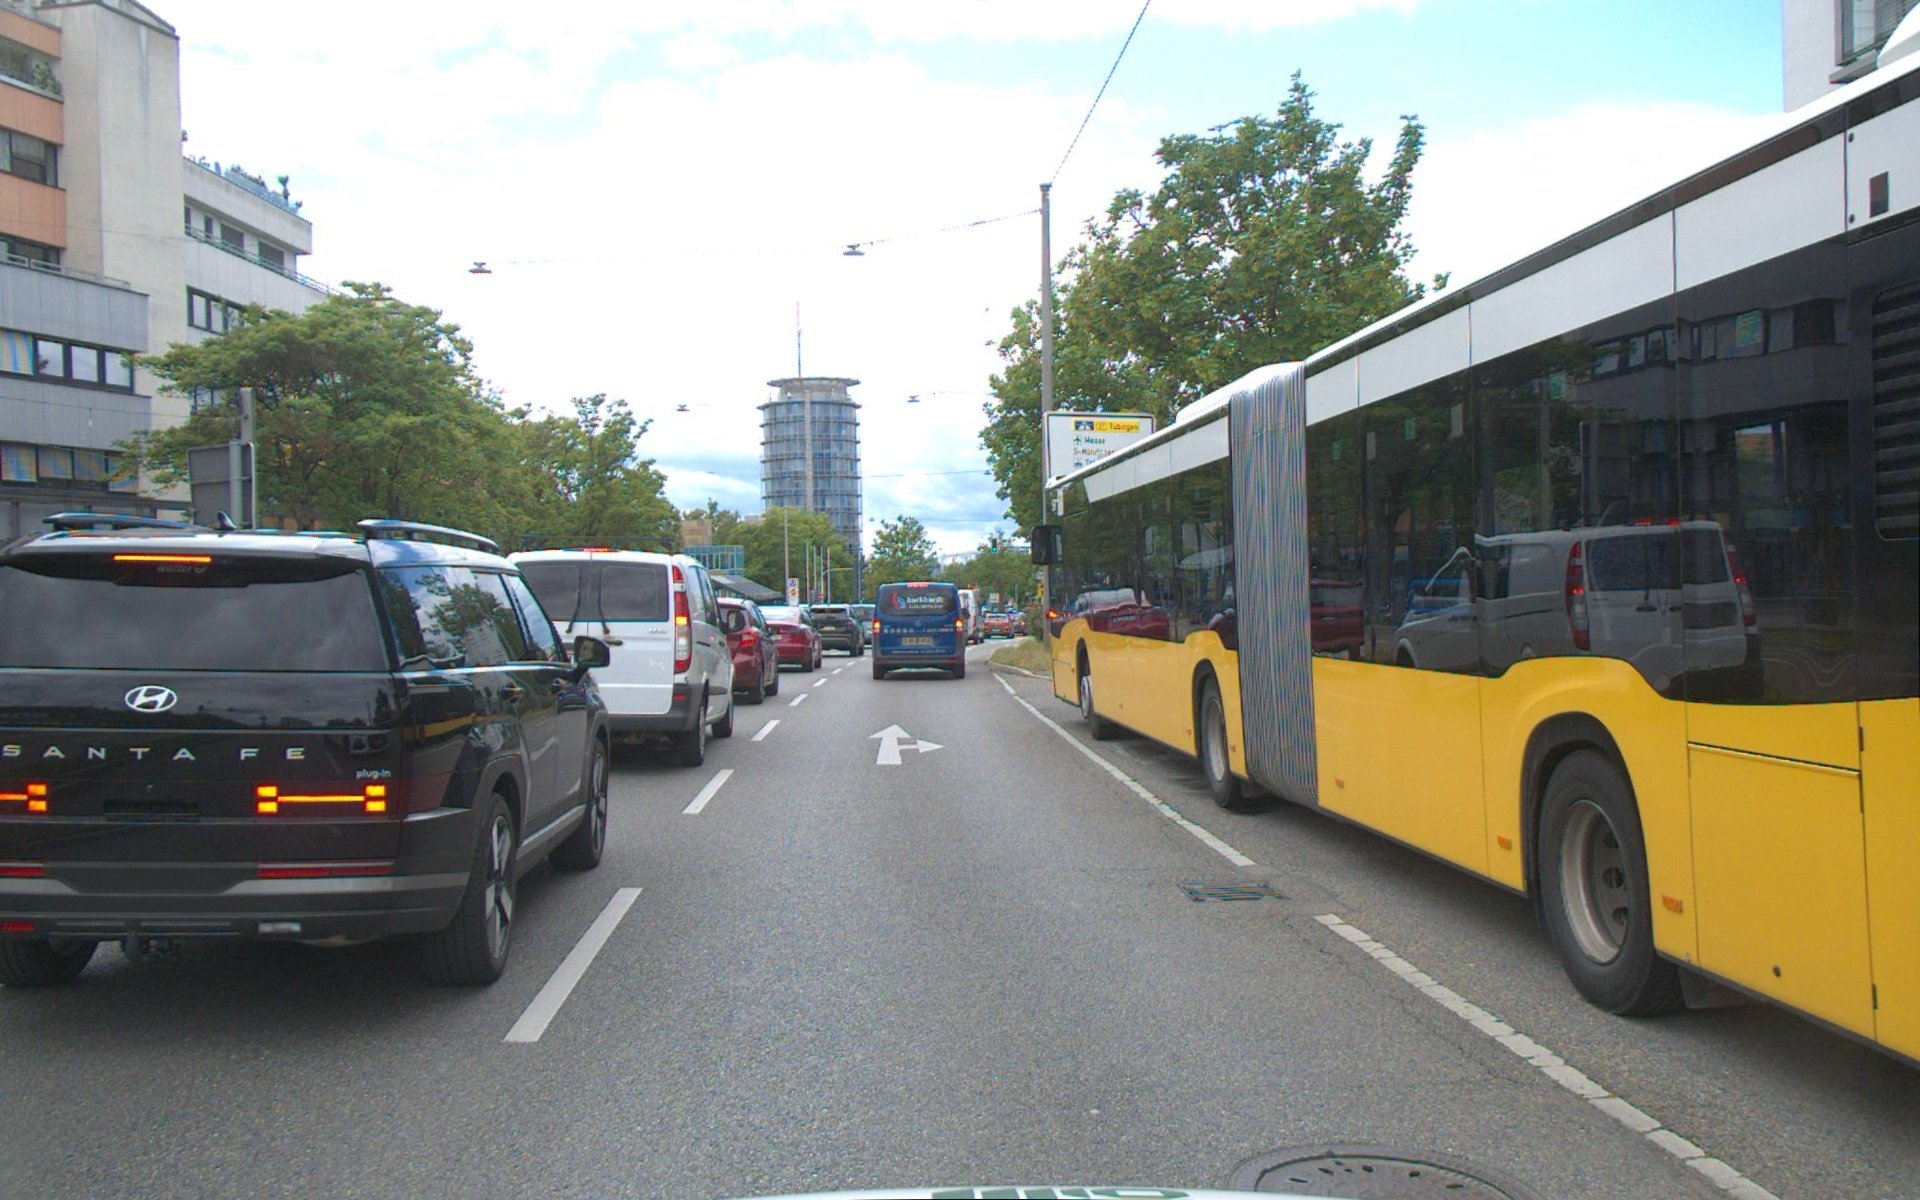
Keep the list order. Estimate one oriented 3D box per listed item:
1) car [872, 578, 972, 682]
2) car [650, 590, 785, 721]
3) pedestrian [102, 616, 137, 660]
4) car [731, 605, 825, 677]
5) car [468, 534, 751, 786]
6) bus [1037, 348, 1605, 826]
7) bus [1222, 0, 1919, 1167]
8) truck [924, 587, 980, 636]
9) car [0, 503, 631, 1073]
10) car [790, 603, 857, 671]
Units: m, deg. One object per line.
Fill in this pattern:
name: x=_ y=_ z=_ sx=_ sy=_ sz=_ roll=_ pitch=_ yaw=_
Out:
car: x=-0.807 y=0.610 z=34.186 sx=1.909 sy=2.000 sz=4.539 roll=-1 pitch=-1 yaw=-2
car: x=-3.640 y=0.828 z=25.395 sx=1.712 sy=1.753 sz=3.995 roll=-3 pitch=-1 yaw=-5
pedestrian: x=-30.531 y=1.374 z=60.070 sx=0.893 sy=1.554 sz=0.838 roll=-2 pitch=0 yaw=-45
car: x=-4.110 y=0.944 z=37.873 sx=1.831 sy=1.512 sz=3.997 roll=-2 pitch=-2 yaw=-2
car: x=-3.261 y=0.491 z=16.413 sx=1.836 sy=2.049 sz=5.074 roll=-2 pitch=0 yaw=-2
bus: x=2.747 y=-0.118 z=16.043 sx=2.660 sy=3.219 sz=9.117 roll=-2 pitch=0 yaw=-5
bus: x=3.500 y=-0.201 z=7.049 sx=2.659 sy=3.163 sz=8.862 roll=-2 pitch=0 yaw=-4
truck: x=-0.336 y=0.565 z=77.402 sx=1.951 sy=2.204 sz=5.563 roll=1 pitch=-1 yaw=7
car: x=-2.749 y=0.583 z=7.542 sx=1.885 sy=1.782 sz=4.674 roll=1 pitch=0 yaw=-5
car: x=-4.318 y=1.137 z=52.923 sx=1.953 sy=2.049 sz=3.998 roll=0 pitch=0 yaw=-2
